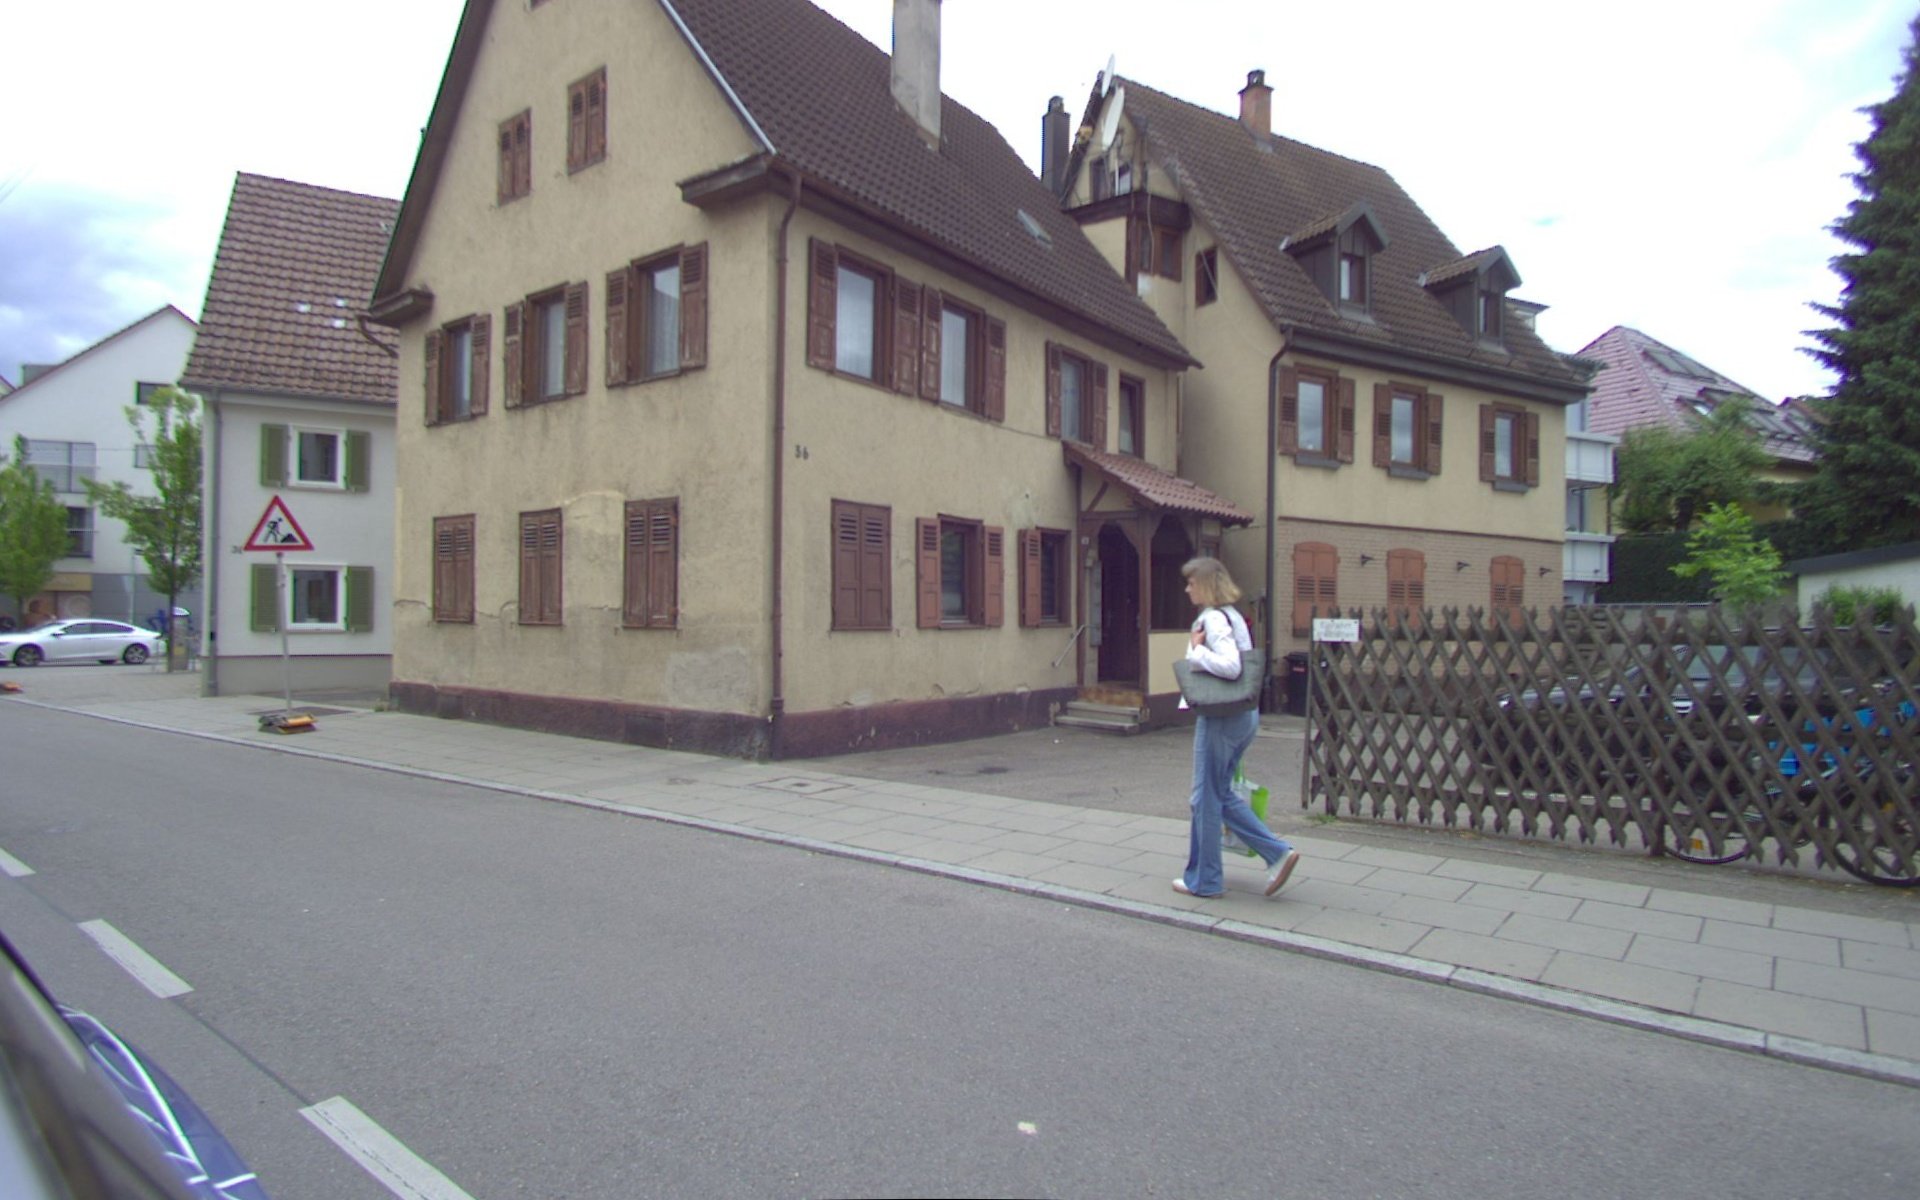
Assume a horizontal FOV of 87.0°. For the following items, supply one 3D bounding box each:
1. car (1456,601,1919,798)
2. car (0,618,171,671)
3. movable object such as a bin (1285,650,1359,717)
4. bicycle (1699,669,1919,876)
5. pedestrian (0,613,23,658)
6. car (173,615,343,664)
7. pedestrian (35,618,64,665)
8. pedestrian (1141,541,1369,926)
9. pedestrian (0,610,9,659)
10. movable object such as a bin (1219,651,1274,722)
[{"bbox_3d":[7.172,0.836,9.592,4.274,1.575,1.978,-1,-2,32],"label":"car"},{"bbox_3d":[-28.021,1.332,31.619,2.235,1.488,4.881,-1,-1,23],"label":"car"},{"bbox_3d":[5.878,1.343,16.457,0.953,1.034,0.642,1,-2,-26],"label":"movable object such as a bin"},{"bbox_3d":[5.177,0.944,5.577,1.748,1.061,0.319,-1,-2,42],"label":"bicycle"},{"bbox_3d":[-38.460,1.435,40.798,0.708,1.804,0.694,0,-2,-4],"label":"pedestrian"},{"bbox_3d":[-24.879,1.348,35.970,4.839,1.569,2.026,0,-1,-38],"label":"car"},{"bbox_3d":[-31.652,1.440,35.168,0.673,1.604,0.879,2,-3,-45],"label":"pedestrian"},{"bbox_3d":[1.480,0.594,5.037,0.859,1.678,0.885,-1,-2,34],"label":"pedestrian"},{"bbox_3d":[-38.452,1.362,40.067,0.773,1.940,0.817,0,-2,-2],"label":"pedestrian"},{"bbox_3d":[4.501,1.345,15.899,0.626,1.075,0.536,1,-2,-21],"label":"movable object such as a bin"}]
